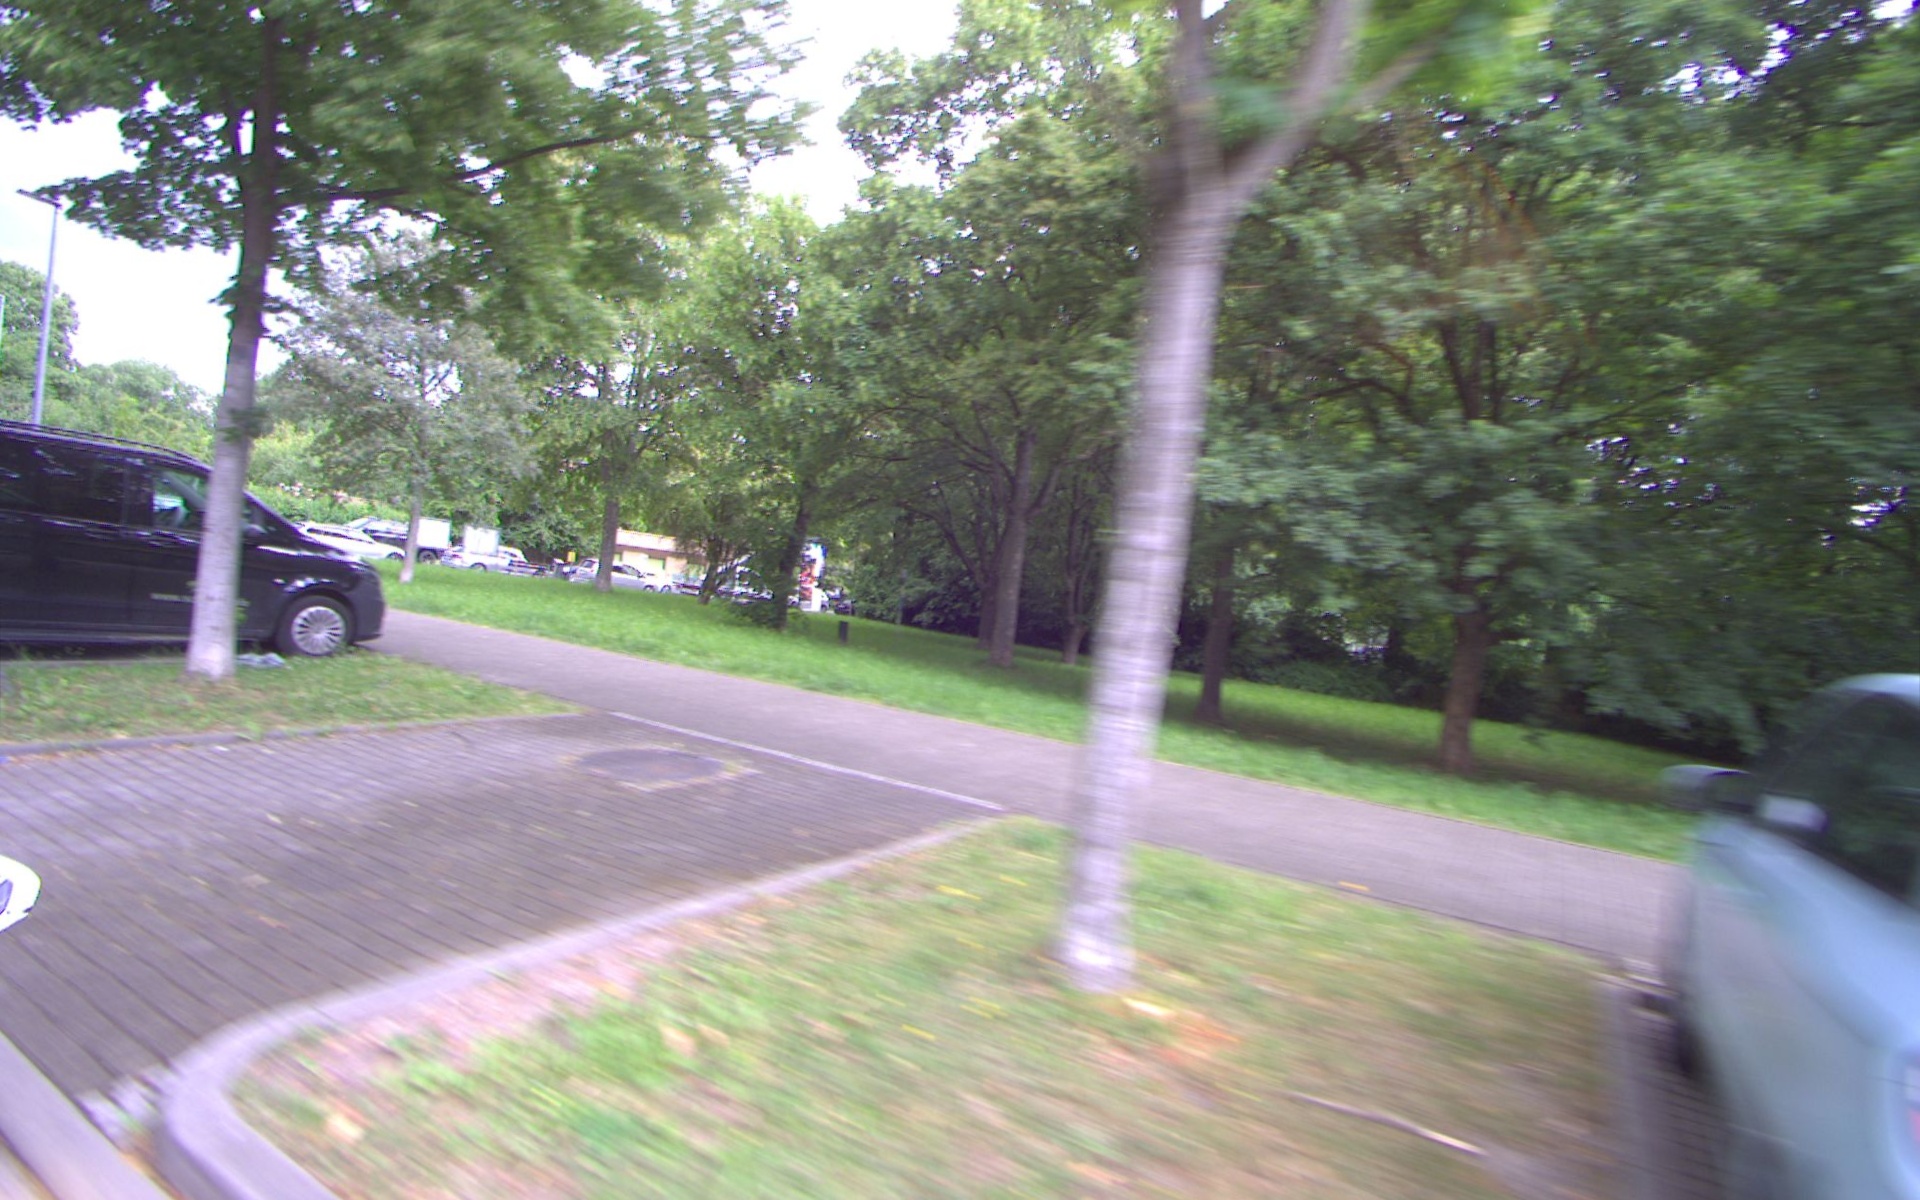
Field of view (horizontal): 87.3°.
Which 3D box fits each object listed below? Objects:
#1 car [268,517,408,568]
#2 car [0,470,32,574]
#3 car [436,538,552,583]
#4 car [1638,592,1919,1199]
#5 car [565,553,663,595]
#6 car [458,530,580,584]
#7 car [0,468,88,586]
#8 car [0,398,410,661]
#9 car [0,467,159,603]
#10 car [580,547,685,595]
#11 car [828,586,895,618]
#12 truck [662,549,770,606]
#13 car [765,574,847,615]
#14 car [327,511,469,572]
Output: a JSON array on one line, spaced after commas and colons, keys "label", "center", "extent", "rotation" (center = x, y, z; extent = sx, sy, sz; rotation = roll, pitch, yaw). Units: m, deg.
[{"label": "car", "center": [-24.951, -2.287, 40.493], "extent": [1.677, 1.445, 4.391], "rotation": [7, -1, 37]}, {"label": "car", "center": [-16.156, -1.345, 14.309], "extent": [1.781, 1.547, 3.989], "rotation": [6, 1, 32]}, {"label": "car", "center": [-21.069, -1.743, 45.614], "extent": [1.678, 1.445, 4.426], "rotation": [7, -1, 38]}, {"label": "car", "center": [2.795, 0.955, 2.294], "extent": [1.767, 1.595, 3.380], "rotation": [8, 2, 32]}, {"label": "car", "center": [-17.252, -1.262, 50.335], "extent": [1.678, 1.544, 4.280], "rotation": [7, -1, 38]}, {"label": "car", "center": [-22.946, -2.206, 52.516], "extent": [2.106, 2.082, 5.317], "rotation": [7, 0, 38]}, {"label": "car", "center": [-14.100, -1.118, 12.971], "extent": [1.735, 1.531, 3.960], "rotation": [7, 2, 34]}, {"label": "car", "center": [-7.991, -0.621, 8.934], "extent": [2.130, 2.040, 4.954], "rotation": [7, 2, 33]}, {"label": "car", "center": [-12.153, -0.886, 11.774], "extent": [1.764, 1.531, 3.961], "rotation": [7, 2, 33]}, {"label": "car", "center": [-18.786, -1.649, 57.923], "extent": [2.106, 2.082, 5.317], "rotation": [7, 0, 38]}, {"label": "car", "center": [-6.309, 0.162, 64.687], "extent": [1.678, 1.544, 4.280], "rotation": [7, -1, 38]}, {"label": "truck", "center": [-13.430, -1.185, 55.726], "extent": [2.160, 2.456, 5.504], "rotation": [7, 0, 38]}, {"label": "car", "center": [-10.345, -0.343, 67.896], "extent": [2.106, 2.082, 5.317], "rotation": [7, 0, 38]}, {"label": "car", "center": [-26.444, -2.726, 47.530], "extent": [2.106, 2.082, 5.317], "rotation": [7, 0, 38]}]
